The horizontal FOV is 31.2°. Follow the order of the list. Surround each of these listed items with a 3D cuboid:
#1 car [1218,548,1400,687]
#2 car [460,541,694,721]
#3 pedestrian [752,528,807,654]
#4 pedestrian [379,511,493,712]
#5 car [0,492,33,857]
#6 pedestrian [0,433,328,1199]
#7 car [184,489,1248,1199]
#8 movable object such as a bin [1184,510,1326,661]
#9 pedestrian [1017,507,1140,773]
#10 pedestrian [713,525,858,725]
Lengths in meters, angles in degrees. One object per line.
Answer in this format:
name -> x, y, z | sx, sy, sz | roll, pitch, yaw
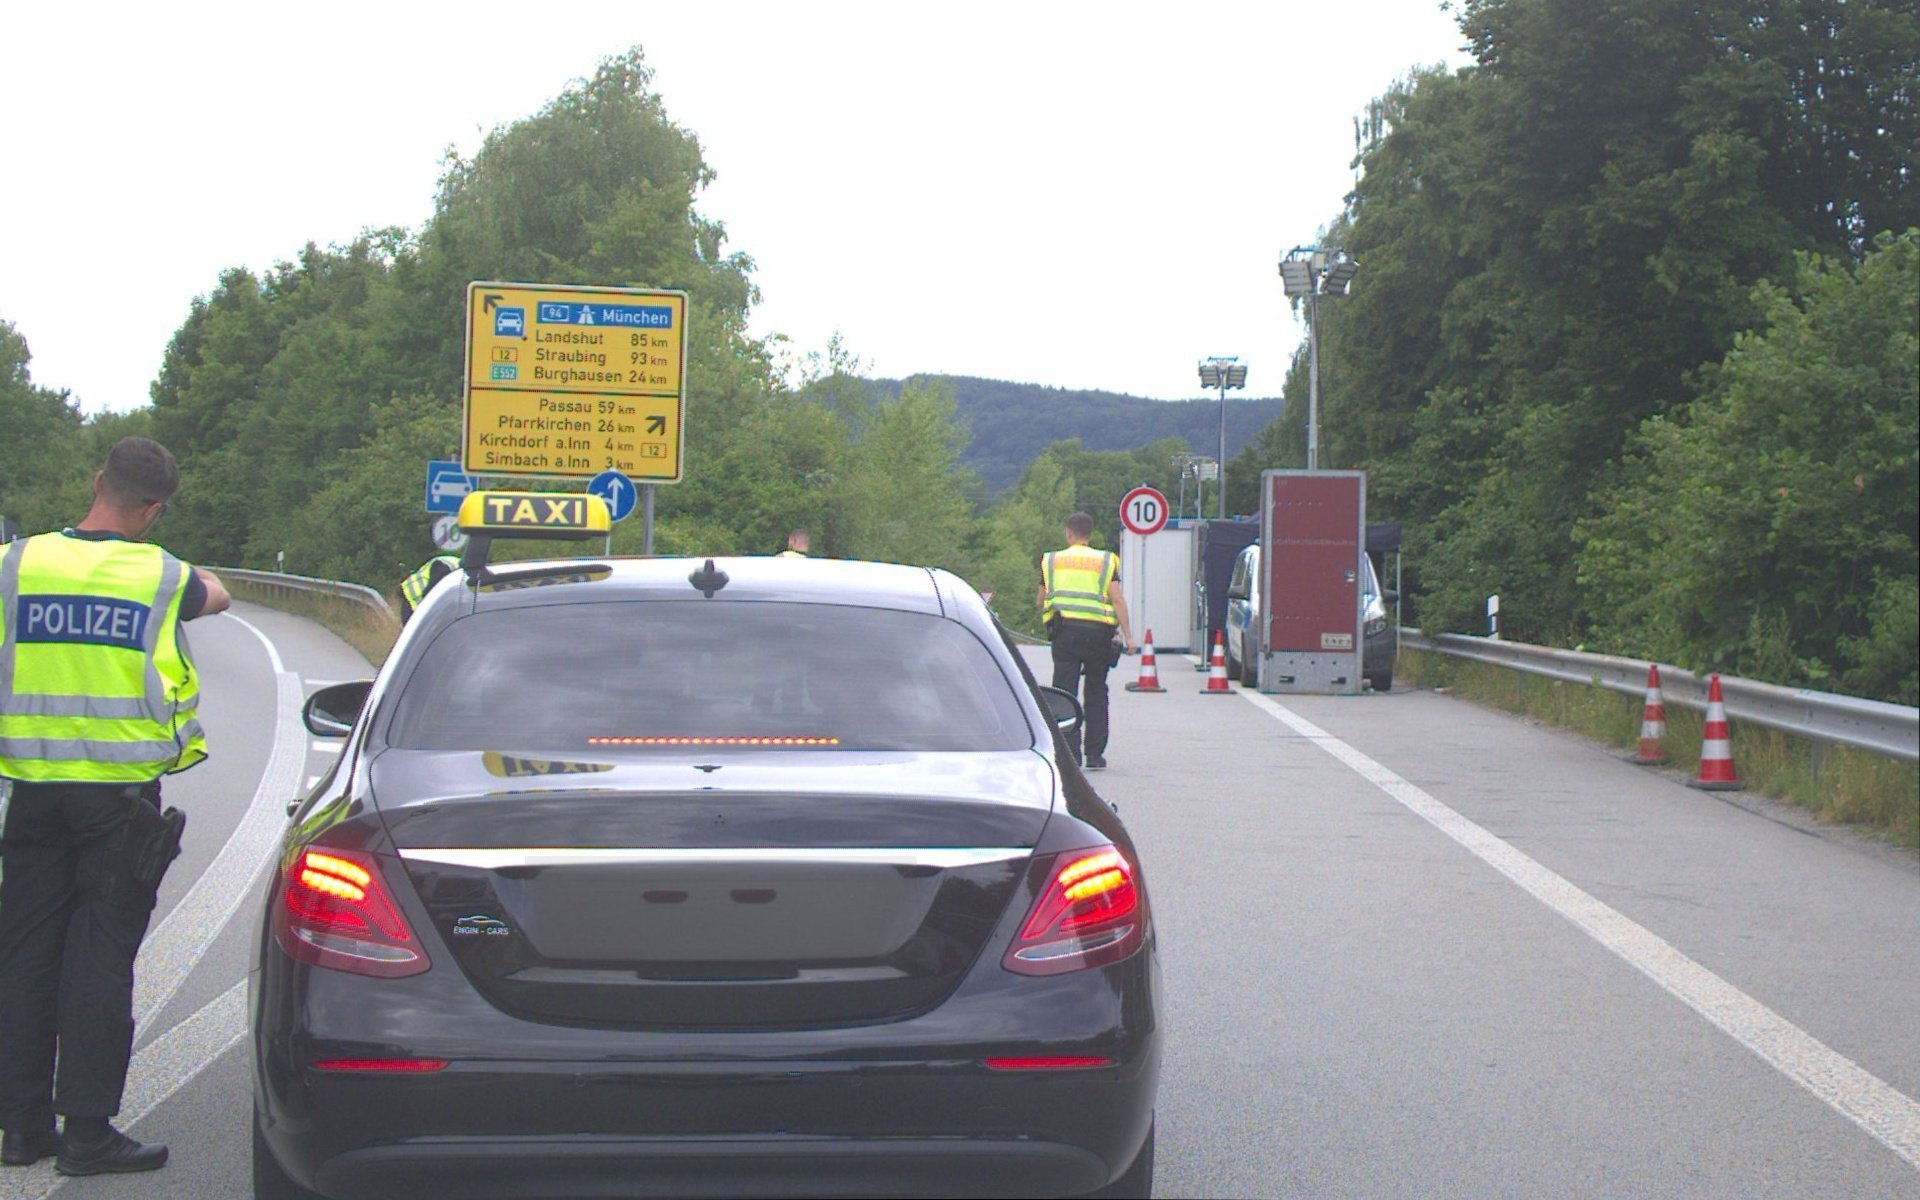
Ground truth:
car -> 4.582, 0.178, 45.789 | 1.916, 1.672, 5.083 | 2, 1, 1
car -> -3.353, 0.224, 30.775 | 1.855, 1.493, 4.257 | 0, 1, -3
pedestrian -> -2.844, -0.147, 54.131 | 0.664, 1.954, 0.759 | 0, 1, 15
pedestrian -> -4.681, 0.098, 30.766 | 0.910, 1.763, 0.912 | 1, 1, -3
car -> -5.401, 0.370, 15.073 | 1.868, 1.737, 4.009 | 0, 1, -4
pedestrian -> -2.046, 0.485, 8.050 | 0.761, 1.712, 0.816 | 1, 1, 37
car -> -0.617, 0.571, 8.208 | 1.855, 1.589, 4.376 | 0, 1, -5
movable object such as a bin -> 4.642, -0.254, 54.628 | 1.993, 2.272, 4.168 | 1, 1, 2
pedestrian -> 0.832, 0.268, 23.951 | 0.812, 1.824, 0.809 | 0, 1, 5
pedestrian -> -1.509, 0.205, 29.659 | 0.908, 1.692, 0.914 | 0, 0, -32
